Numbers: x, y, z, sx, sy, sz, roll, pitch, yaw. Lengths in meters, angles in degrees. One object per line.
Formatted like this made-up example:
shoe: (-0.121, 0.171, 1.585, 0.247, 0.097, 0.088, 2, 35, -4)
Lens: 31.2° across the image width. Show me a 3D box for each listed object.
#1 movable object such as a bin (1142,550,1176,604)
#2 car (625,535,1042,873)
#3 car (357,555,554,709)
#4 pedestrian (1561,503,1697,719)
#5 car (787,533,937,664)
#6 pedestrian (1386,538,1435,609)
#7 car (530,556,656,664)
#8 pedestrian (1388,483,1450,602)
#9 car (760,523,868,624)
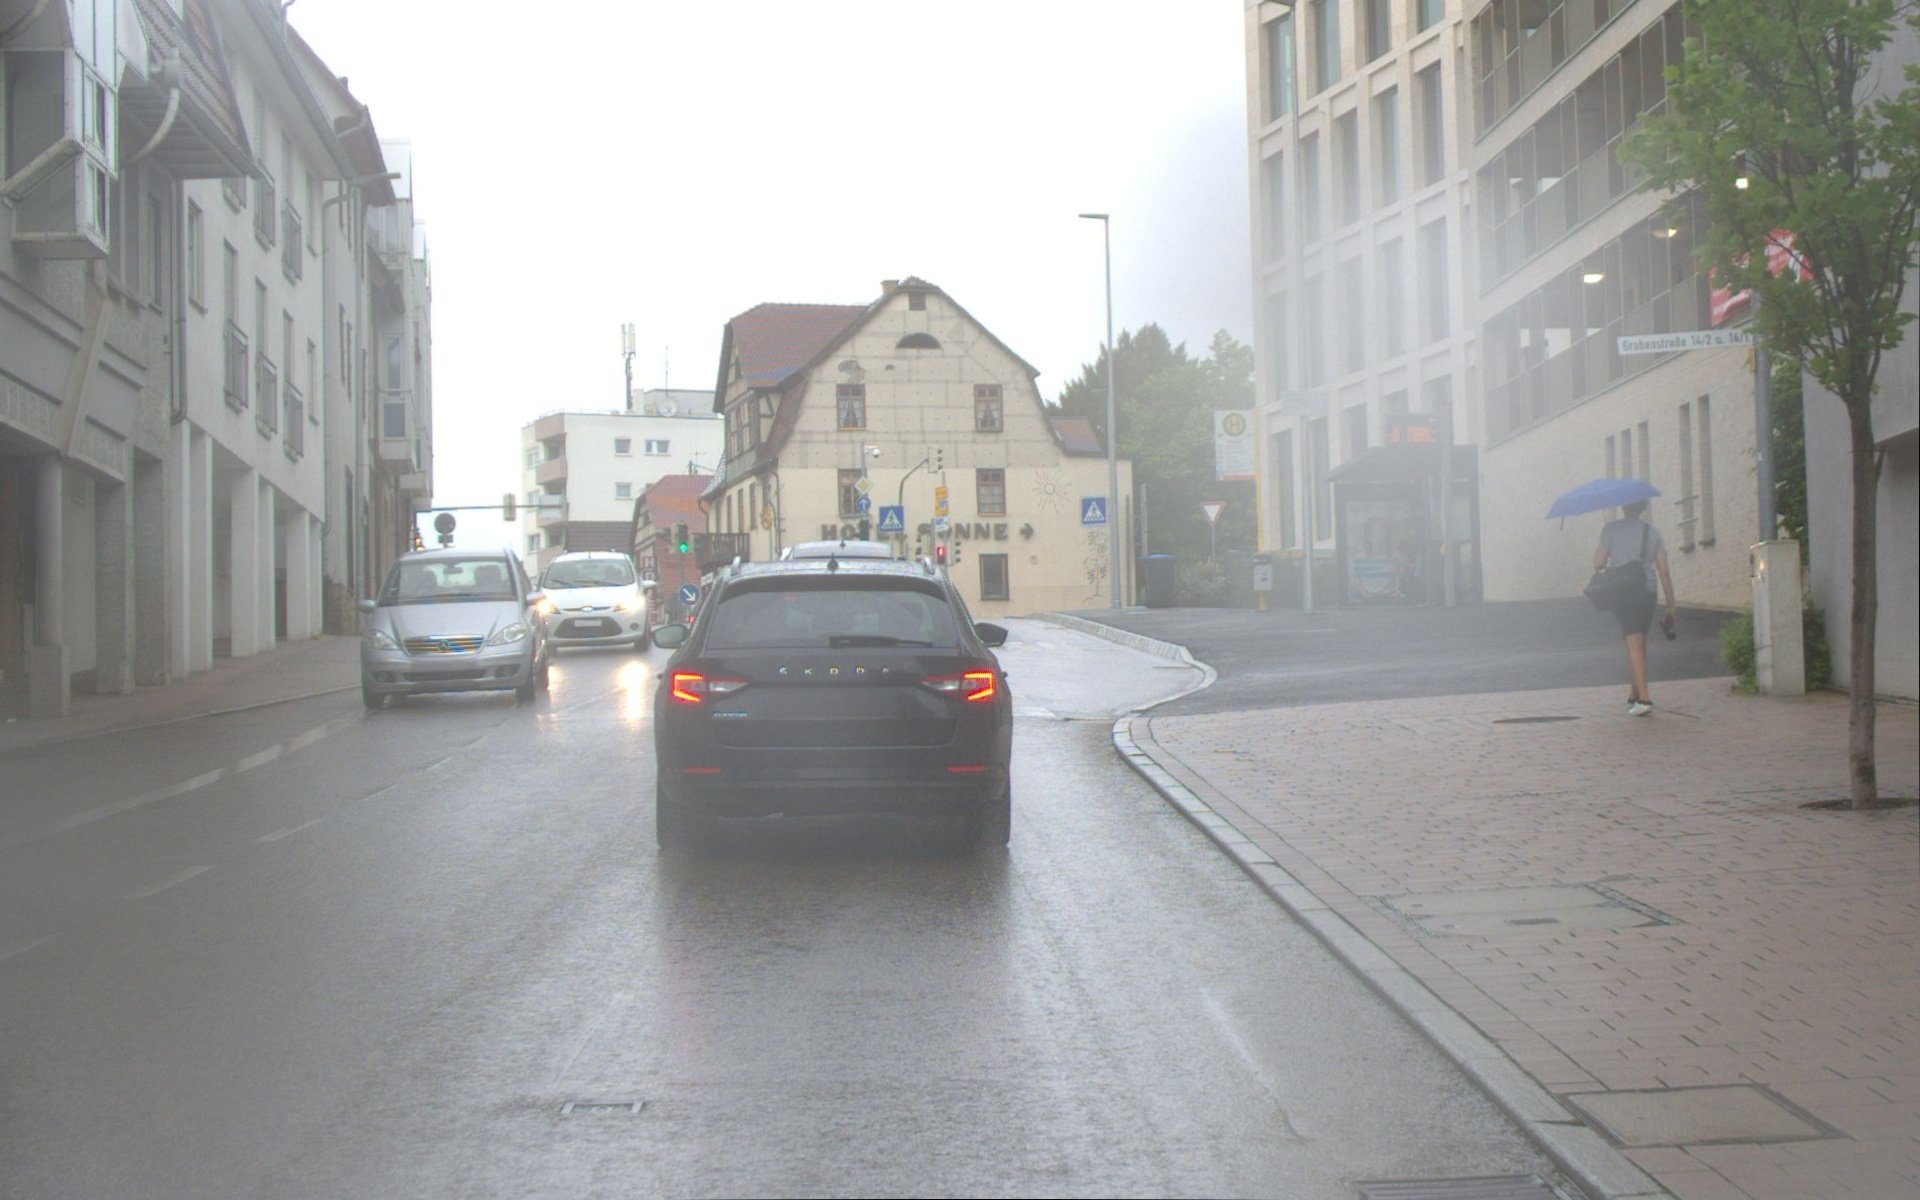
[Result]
movable object such as a bin: (4.009, -0.467, 69.321, 0.595, 1.058, 0.579, -2, 1, -2)
car: (-0.653, 0.459, 18.463, 1.944, 1.561, 4.417, -1, 1, -1)
car: (-5.301, 0.298, 36.480, 1.677, 1.505, 3.589, -1, 1, -2)
pedestrian: (5.017, 0.075, 25.848, 0.736, 1.537, 1.038, -4, 0, 2)
car: (-1.243, -0.037, 42.330, 1.677, 1.505, 3.589, -1, 1, -4)
pedestrian: (7.679, -0.452, 58.615, 0.672, 1.158, 0.635, -3, 0, -1)
car: (-5.425, 0.115, 51.136, 1.677, 1.505, 3.589, -1, 1, -4)
pedestrian: (7.620, -0.956, 57.163, 0.782, 1.933, 1.021, -3, 0, -1)
car: (-2.386, -0.446, 56.863, 1.680, 1.554, 4.000, -2, 1, -2)
